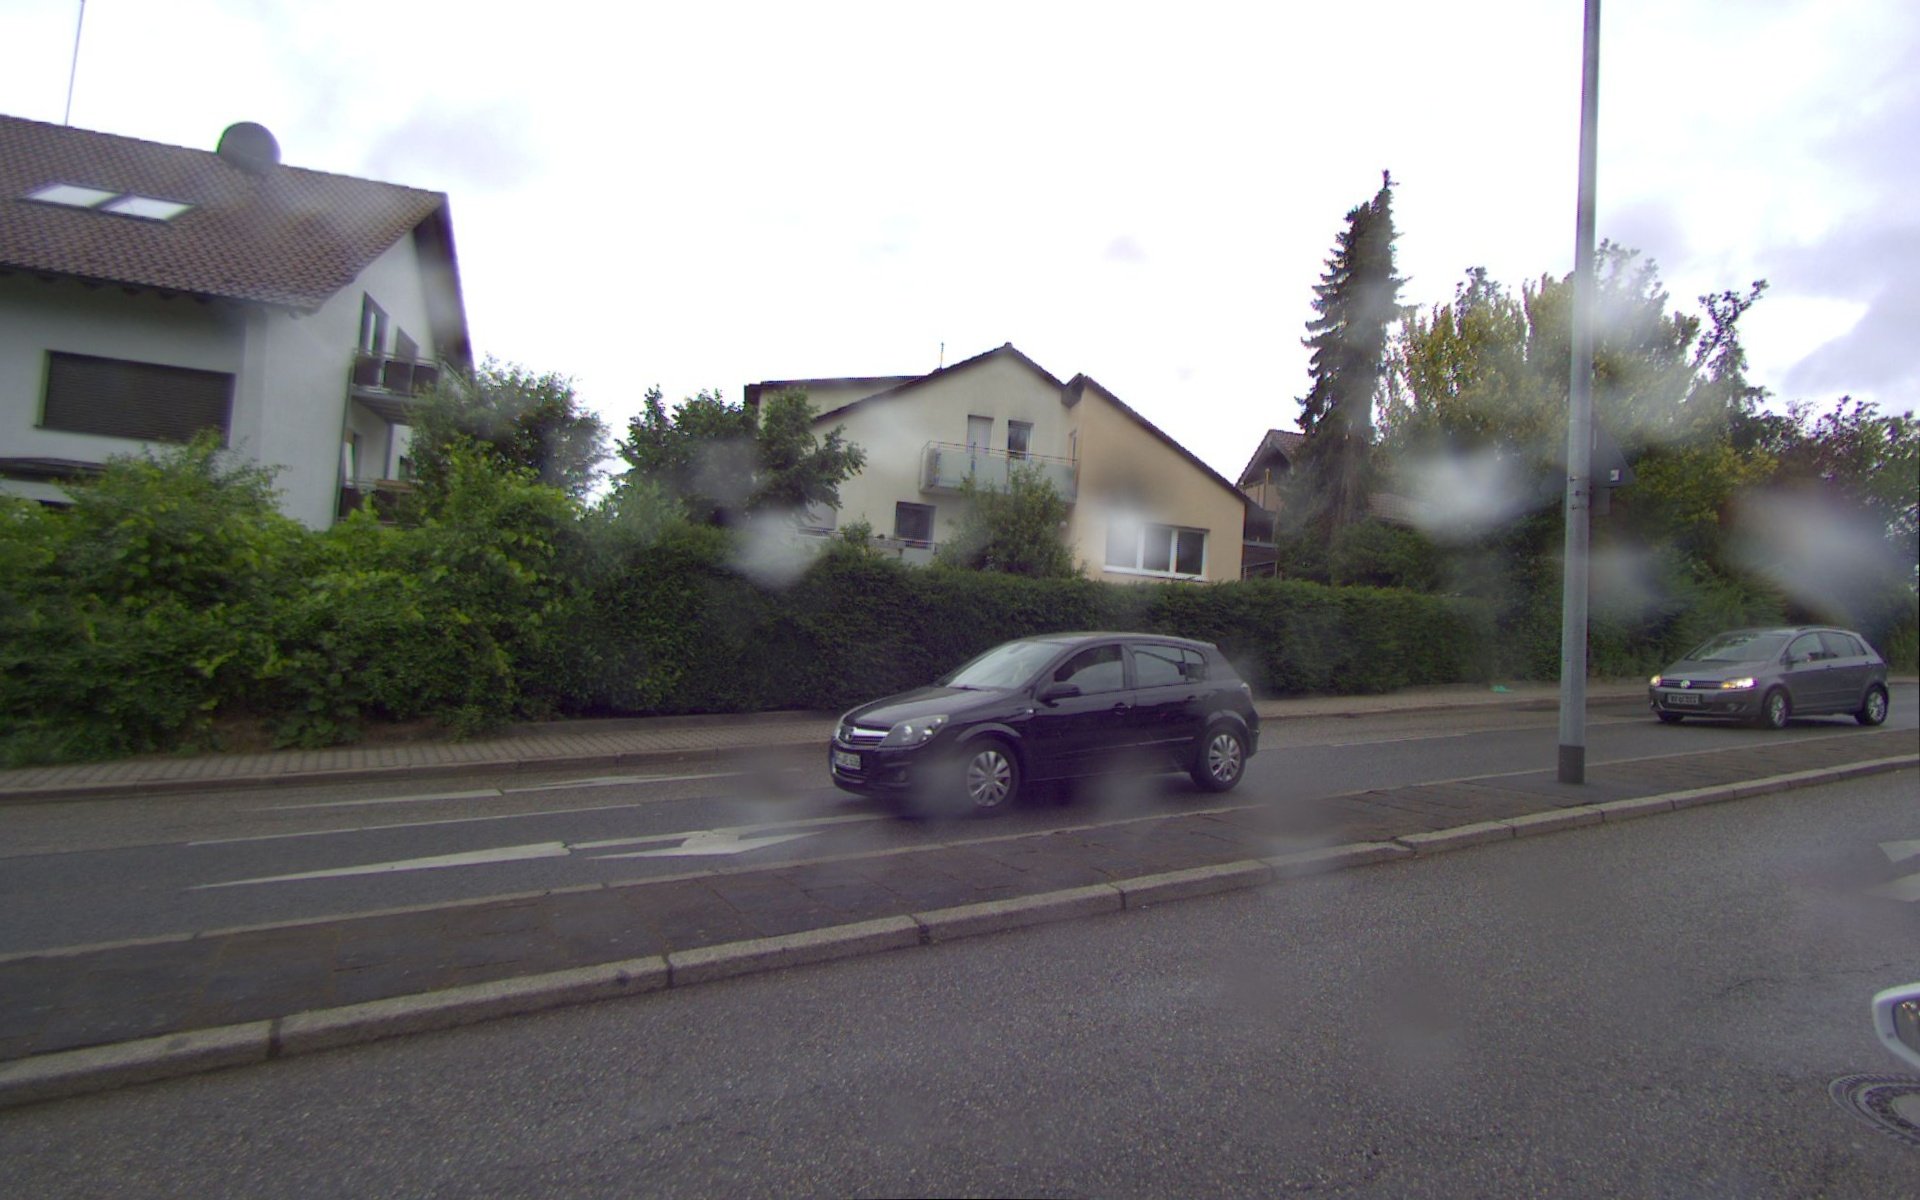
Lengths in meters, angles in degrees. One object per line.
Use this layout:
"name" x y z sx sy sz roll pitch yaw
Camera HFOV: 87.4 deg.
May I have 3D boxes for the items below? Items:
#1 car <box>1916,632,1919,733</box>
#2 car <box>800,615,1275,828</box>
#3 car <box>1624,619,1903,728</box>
"car" 11.010 1.089 9.402 4.280 1.547 1.983 2 -4 -32
"car" 0.756 0.956 9.087 3.955 1.529 1.886 2 -3 -32
"car" 13.255 1.169 16.598 3.969 1.623 1.741 1 -3 -19
